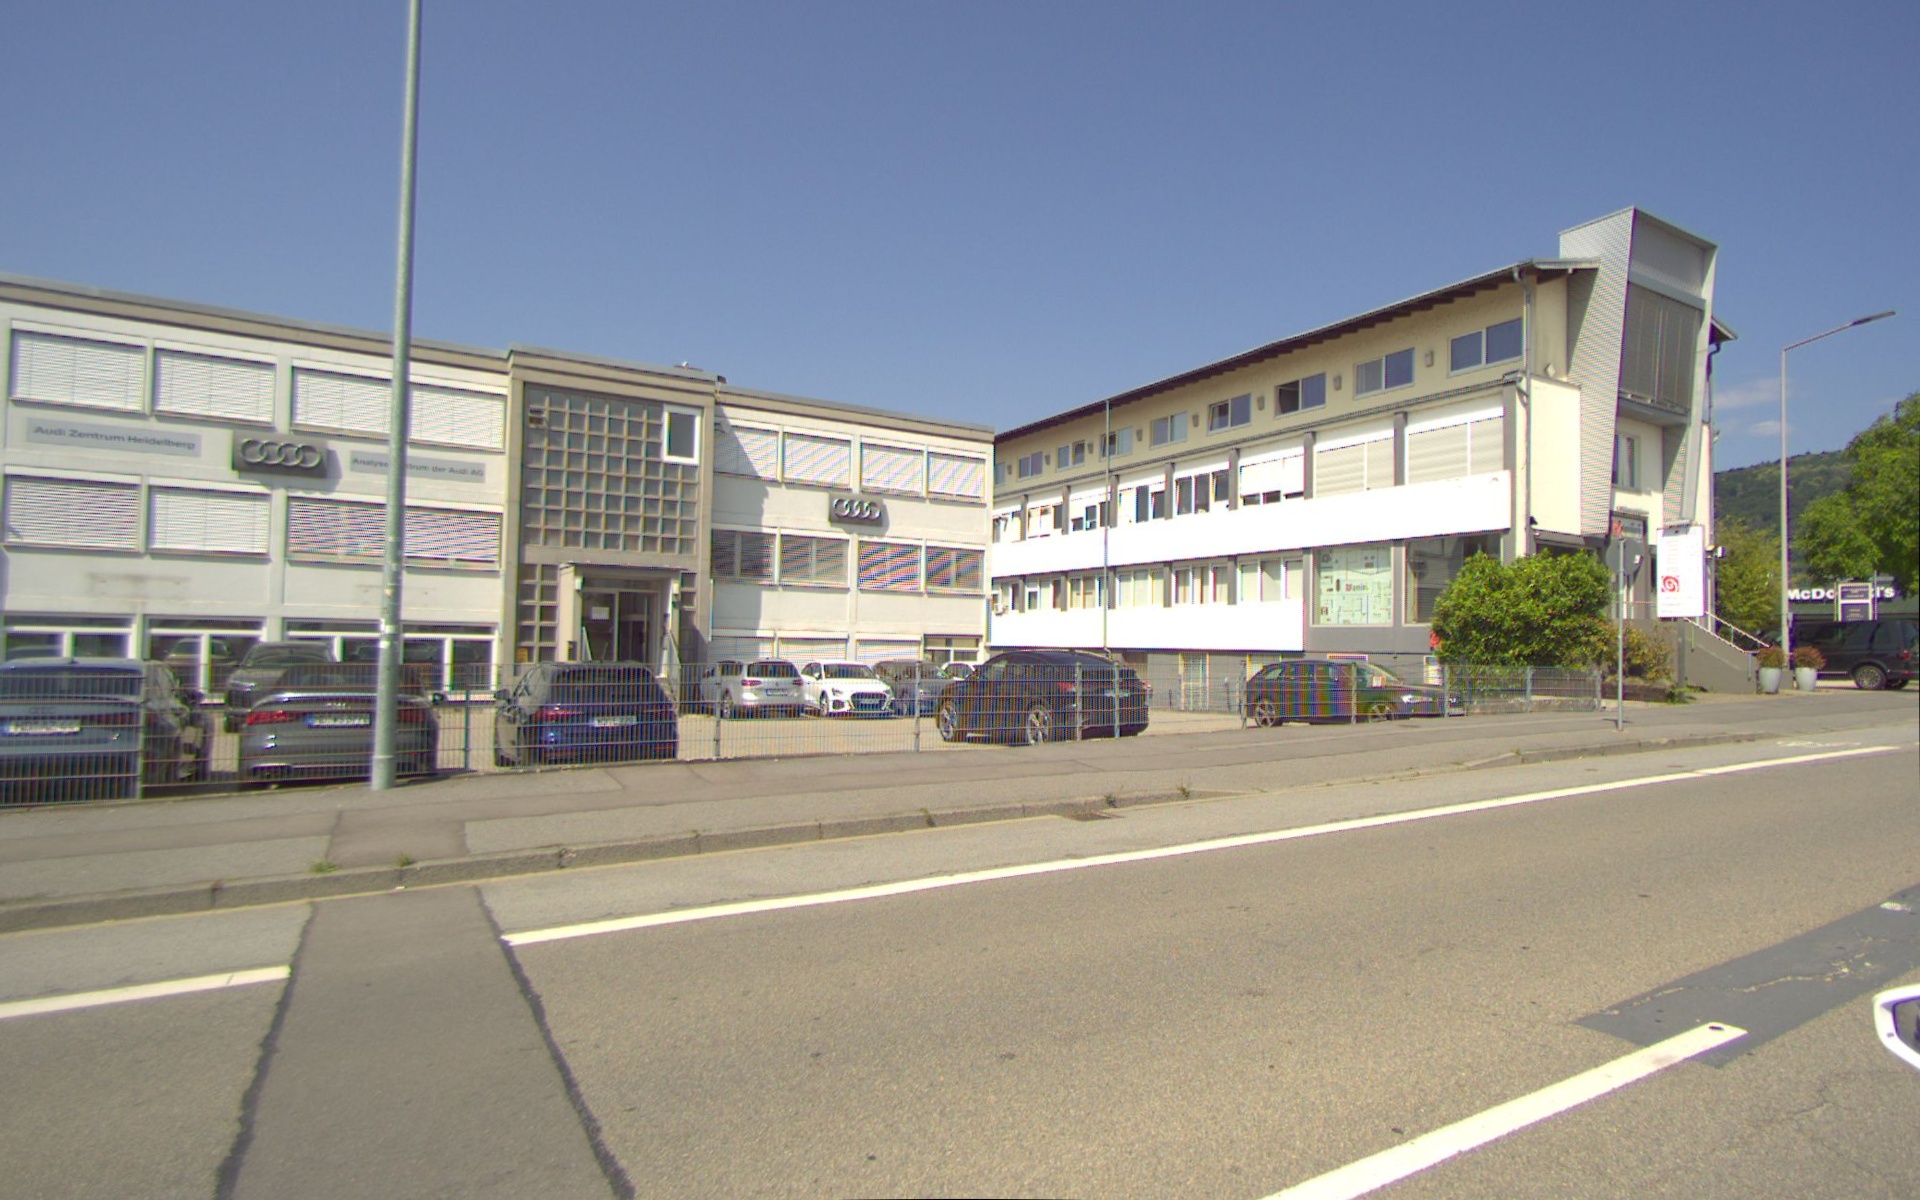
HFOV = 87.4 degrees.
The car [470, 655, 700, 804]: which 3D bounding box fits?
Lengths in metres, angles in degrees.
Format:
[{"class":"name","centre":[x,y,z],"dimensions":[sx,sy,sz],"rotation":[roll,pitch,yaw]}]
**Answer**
[{"class":"car","centre":[-4.883,1.507,12.738],"dimensions":[1.840,1.509,3.964],"rotation":[4,-4,-33]}]

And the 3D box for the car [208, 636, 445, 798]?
[{"class":"car","centre":[-7.057,1.378,11.306],"dimensions":[1.839,1.460,3.969],"rotation":[4,-10,-32]}]

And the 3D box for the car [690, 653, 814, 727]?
[{"class":"car","centre":[-5.263,2.170,25.056],"dimensions":[1.838,1.566,3.967],"rotation":[1,-2,-31]}]

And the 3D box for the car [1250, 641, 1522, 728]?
[{"class":"car","centre":[8.278,1.574,20.002],"dimensions":[2.025,1.500,4.715],"rotation":[1,-3,-31]}]

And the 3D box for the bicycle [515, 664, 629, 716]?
[{"class":"bicycle","centre":[-9.756,2.238,25.326],"dimensions":[2.548,1.194,0.920],"rotation":[1,-1,-33]}]

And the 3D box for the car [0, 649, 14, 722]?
[{"class":"car","centre":[-18.320,1.576,17.442],"dimensions":[1.837,1.377,3.968],"rotation":[1,-2,-30]}]

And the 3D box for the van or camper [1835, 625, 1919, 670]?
[{"class":"van or camper","centre":[37.226,1.876,39.894],"dimensions":[1.613,1.687,3.378],"rotation":[1,0,-28]}]

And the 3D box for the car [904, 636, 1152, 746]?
[{"class":"car","centre":[0.987,1.401,16.764],"dimensions":[1.974,1.579,4.271],"rotation":[1,-3,-33]}]

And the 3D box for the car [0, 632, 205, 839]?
[{"class":"car","centre":[-8.971,1.227,10.210],"dimensions":[1.805,1.463,3.865],"rotation":[4,0,-34]}]

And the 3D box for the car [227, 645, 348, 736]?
[{"class":"car","centre":[-13.690,1.749,20.591],"dimensions":[1.839,1.573,4.330],"rotation":[1,-2,-33]}]

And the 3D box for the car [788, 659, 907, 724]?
[{"class":"car","centre":[-3.000,2.319,26.083],"dimensions":[1.792,1.421,3.974],"rotation":[3,-3,-26]}]

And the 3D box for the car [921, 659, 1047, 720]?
[{"class":"car","centre":[0.621,2.527,29.132],"dimensions":[1.838,1.480,3.967],"rotation":[1,-2,-31]}]

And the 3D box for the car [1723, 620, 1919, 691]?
[{"class":"car","centre":[25.436,1.559,29.405],"dimensions":[2.071,1.890,4.537],"rotation":[1,-2,-35]}]

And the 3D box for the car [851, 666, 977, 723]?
[{"class":"car","centre":[-1.355,2.548,27.776],"dimensions":[1.838,1.281,3.967],"rotation":[1,-2,-31]}]
